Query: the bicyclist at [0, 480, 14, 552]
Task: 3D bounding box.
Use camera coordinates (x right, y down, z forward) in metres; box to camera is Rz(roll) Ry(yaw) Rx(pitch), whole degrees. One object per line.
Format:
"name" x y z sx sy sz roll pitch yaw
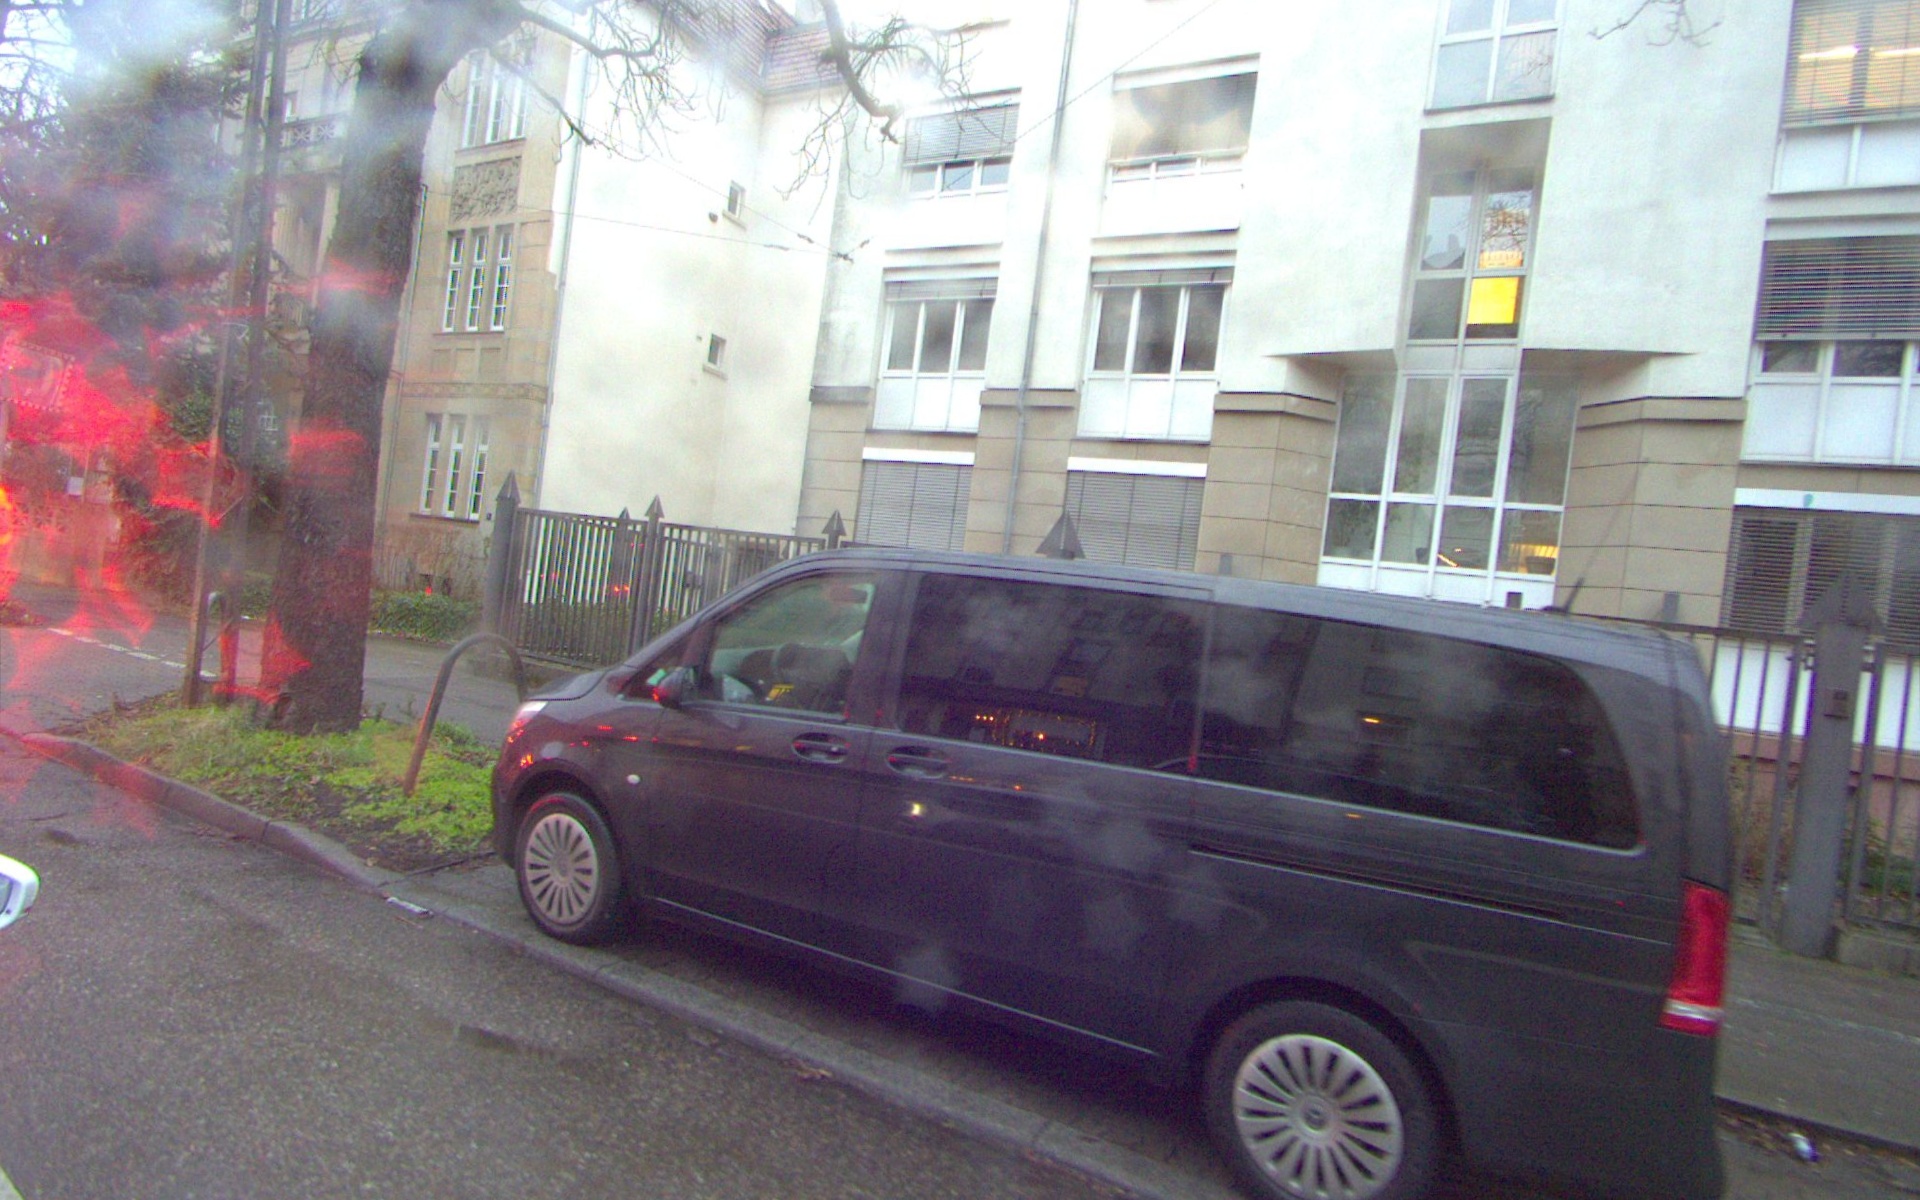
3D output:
"bicyclist" -6.854 -0.038 6.348 1.037 1.679 0.720 7 -4 24

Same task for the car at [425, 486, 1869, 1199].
"car" 0.266 0.756 4.333 4.877 1.899 2.035 7 0 28

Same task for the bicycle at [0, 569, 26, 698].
"bicycle" -6.975 0.229 6.369 1.906 1.123 0.720 7 -4 24
